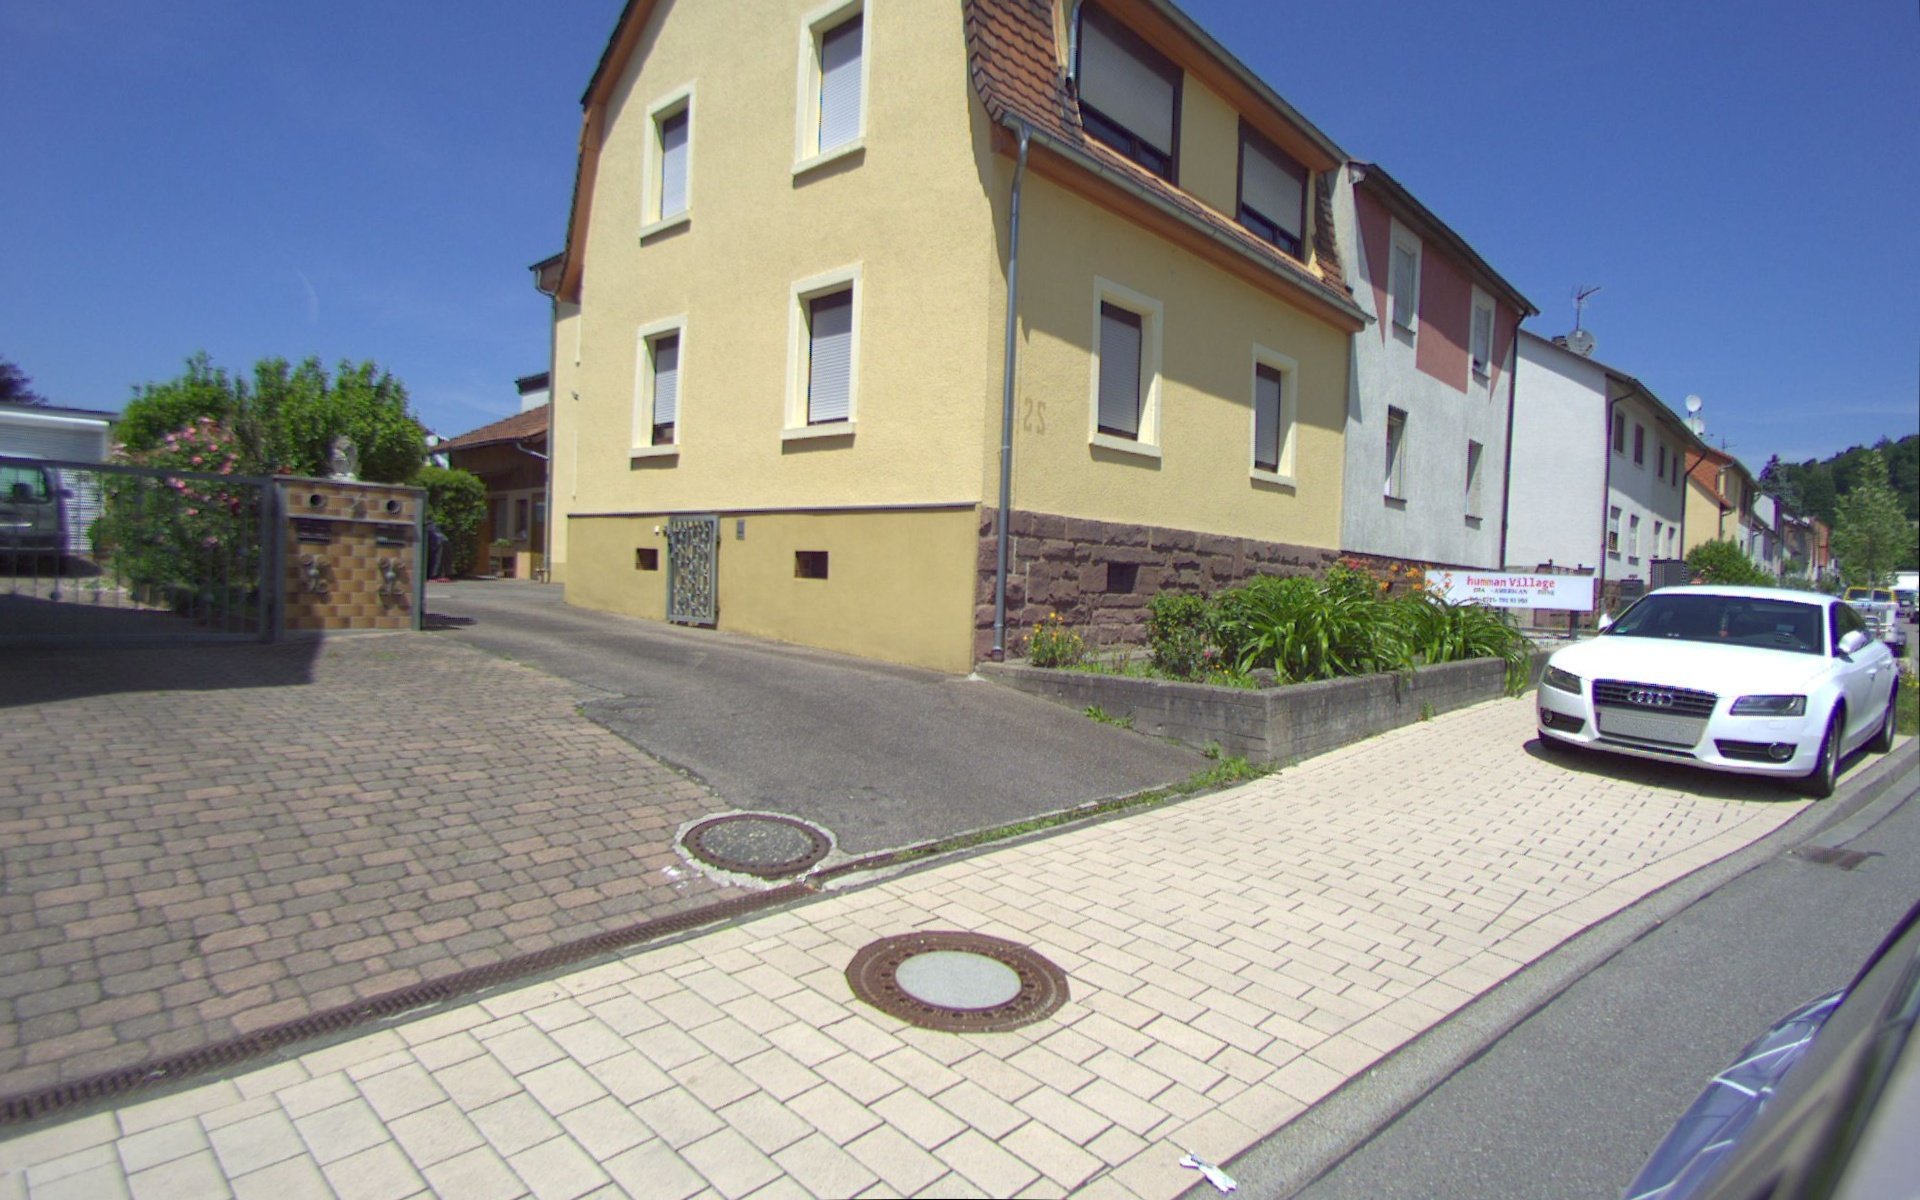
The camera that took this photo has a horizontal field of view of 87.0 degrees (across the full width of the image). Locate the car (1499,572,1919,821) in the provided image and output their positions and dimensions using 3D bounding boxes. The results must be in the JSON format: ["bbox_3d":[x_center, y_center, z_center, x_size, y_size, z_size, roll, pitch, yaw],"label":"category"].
[{"bbox_3d":[6.350,0.533,8.311,4.551,1.434,1.761,-1,5,-40],"label":"car"}]

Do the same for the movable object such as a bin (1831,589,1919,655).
[{"bbox_3d":[22.837,0.502,25.242,1.571,1.434,2.996,3,3,42],"label":"movable object such as a bin"}]

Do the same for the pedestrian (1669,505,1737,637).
[{"bbox_3d":[11.940,-0.460,16.250,0.746,2.039,1.017,0,1,44],"label":"pedestrian"}]

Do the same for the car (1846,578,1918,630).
[{"bbox_3d":[42.571,0.109,46.840,2.190,2.037,5.539,8,6,41],"label":"car"}]

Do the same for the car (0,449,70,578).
[{"bbox_3d":[-14.957,-1.435,15.597,3.894,1.805,1.522,9,5,44],"label":"car"}]

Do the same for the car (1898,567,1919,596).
[{"bbox_3d":[73.170,-1.437,77.479,1.981,2.210,3.939,0,1,43],"label":"car"}]

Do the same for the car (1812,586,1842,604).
[{"bbox_3d":[86.910,-0.526,101.431,1.864,1.640,4.437,7,6,44],"label":"car"}]
